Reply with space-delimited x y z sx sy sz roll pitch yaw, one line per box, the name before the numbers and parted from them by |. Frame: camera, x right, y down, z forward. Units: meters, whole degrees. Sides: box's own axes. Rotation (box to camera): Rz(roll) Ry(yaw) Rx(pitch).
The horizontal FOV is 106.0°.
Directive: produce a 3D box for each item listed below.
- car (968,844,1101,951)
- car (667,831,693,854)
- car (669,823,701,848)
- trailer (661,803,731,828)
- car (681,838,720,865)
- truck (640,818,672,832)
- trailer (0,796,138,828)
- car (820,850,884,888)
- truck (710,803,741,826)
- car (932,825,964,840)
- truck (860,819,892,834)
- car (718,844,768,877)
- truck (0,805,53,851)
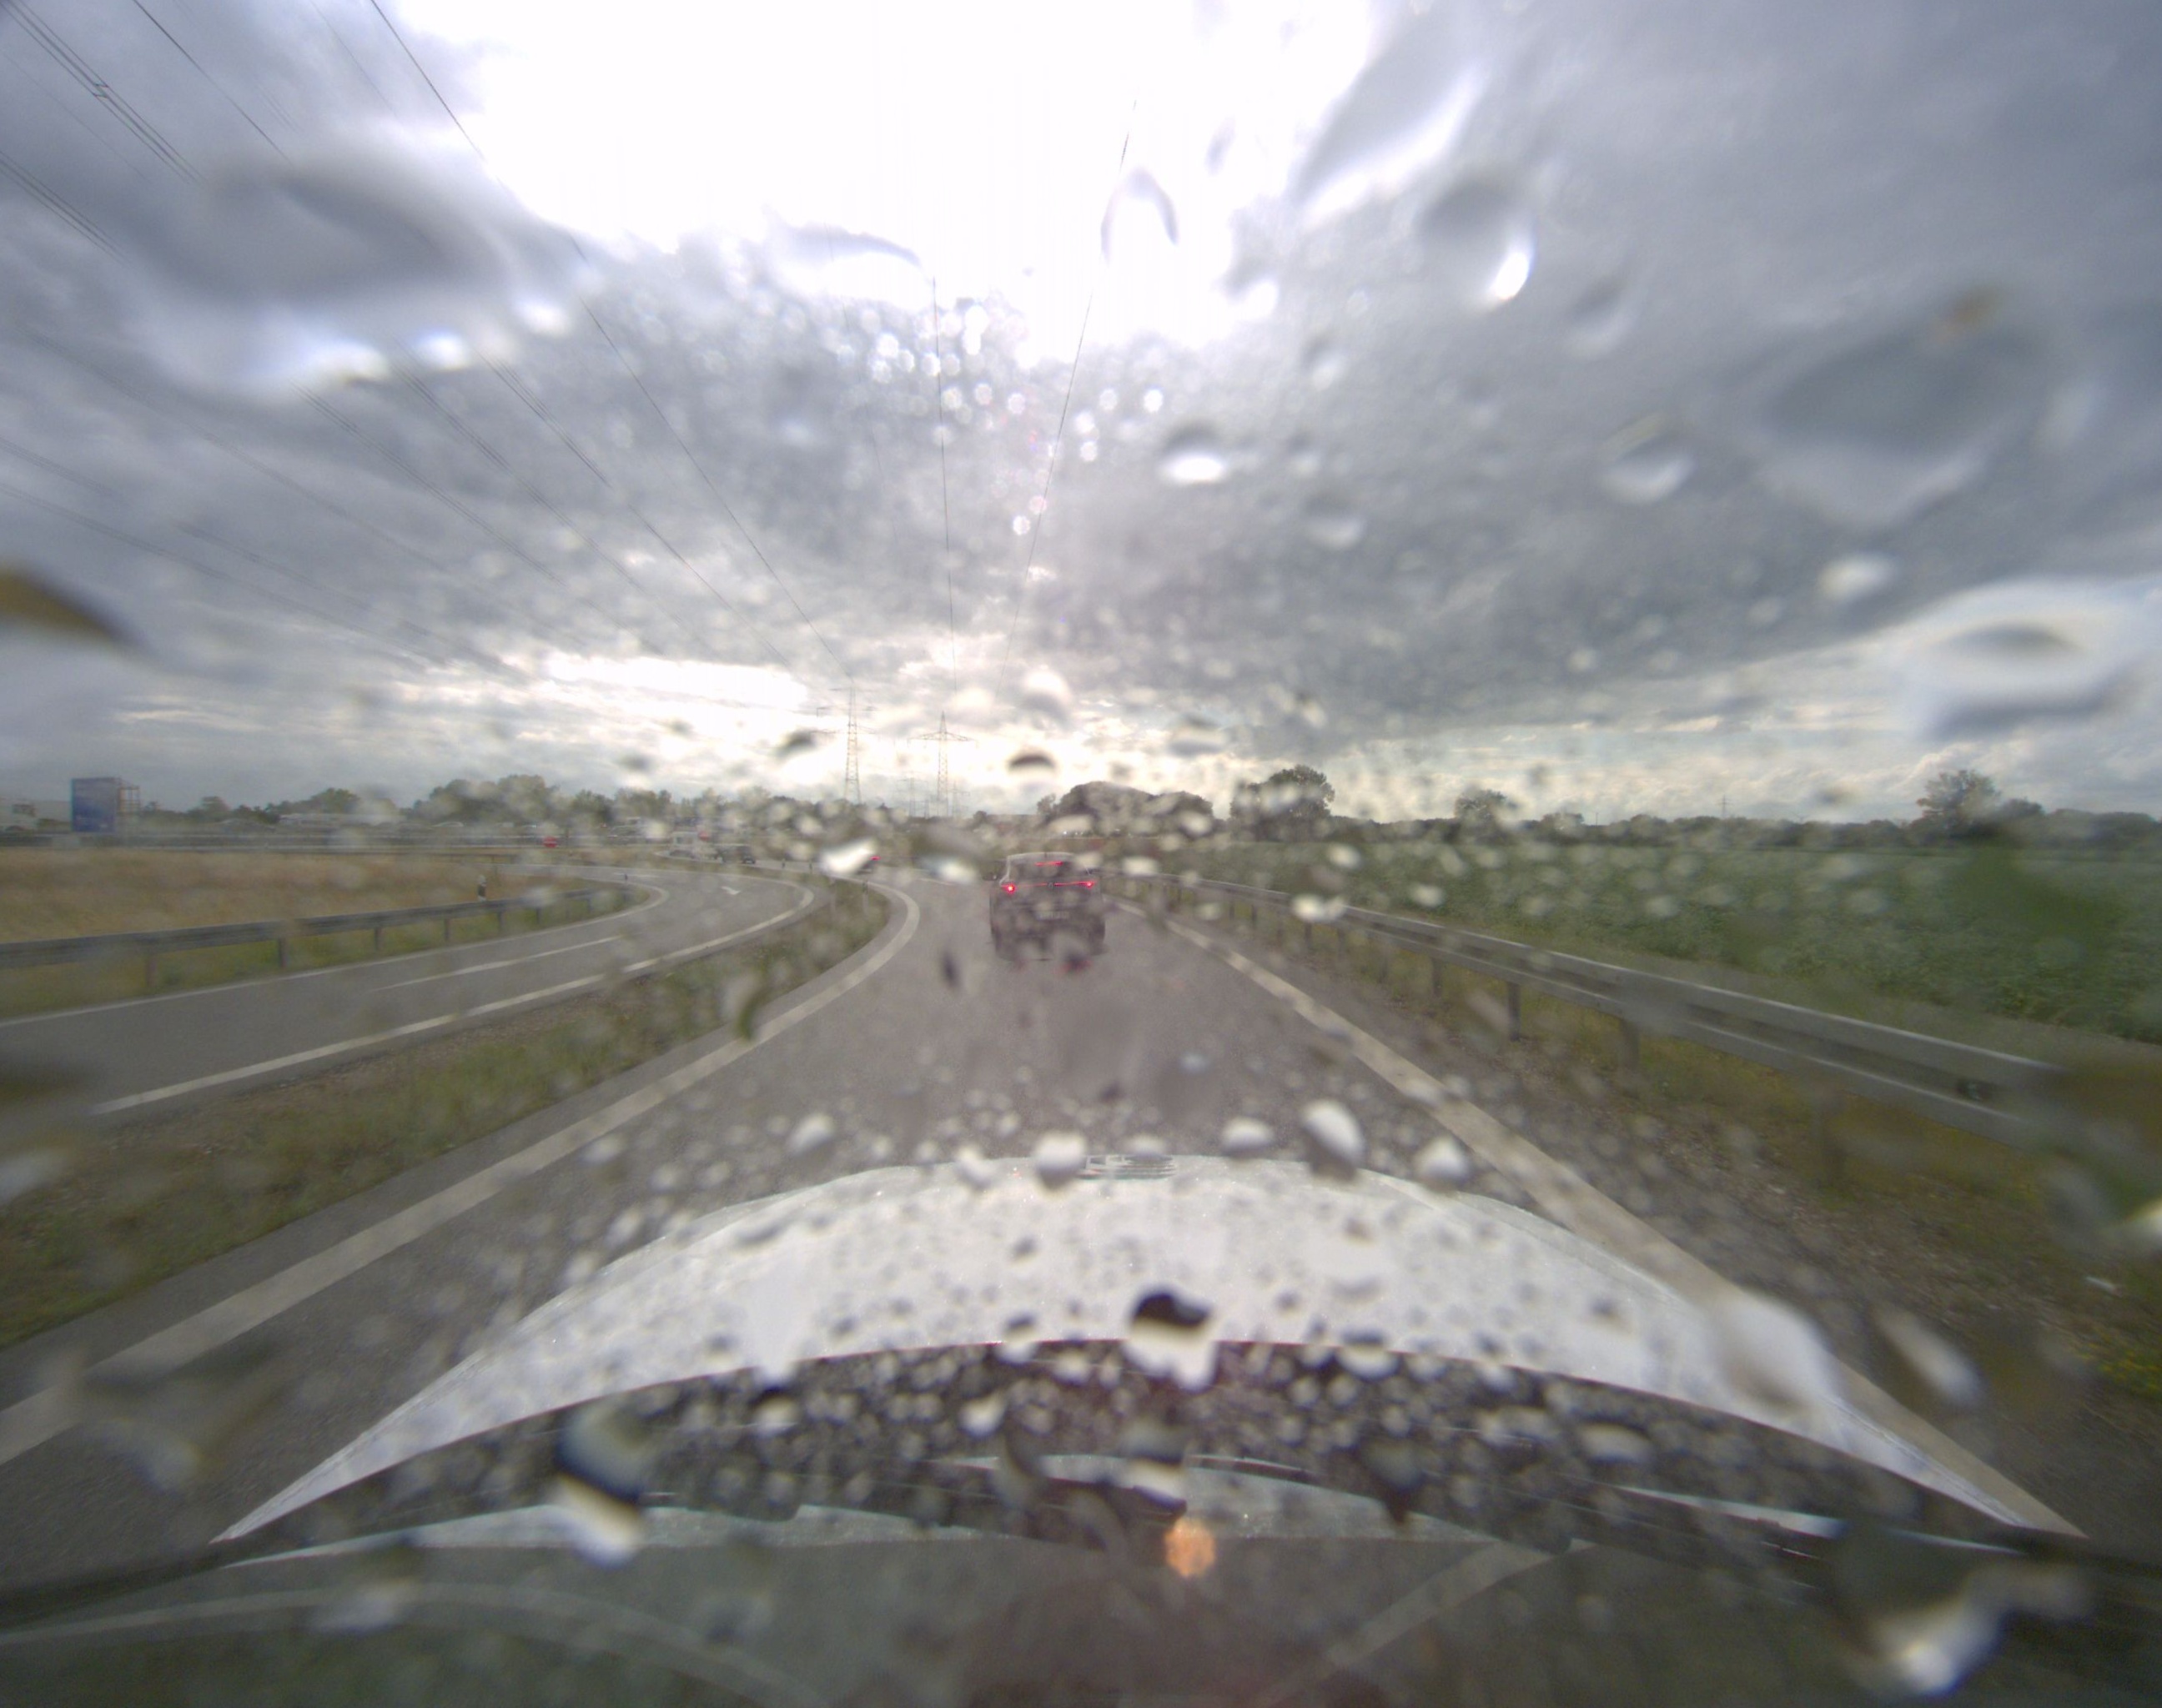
car | -0.788 0.648 14.790 1.988 1.566 4.146 -3 1 -2
car | -42.530 -1.266 86.527 2.363 2.306 5.087 -1 3 -26
car | -52.024 -2.473 107.149 3.147 2.950 7.161 -1 3 -21
trailer | -74.027 -7.458 157.176 3.021 4.634 13.381 2 3 24
car | -36.025 -0.298 77.009 2.369 2.306 5.074 -2 4 -36
truck | -97.063 -6.568 186.027 2.292 3.025 6.506 2 3 24
trailer | -133.770 -5.428 105.991 2.824 3.670 14.182 2 1 24
car | -13.869 0.835 49.050 2.136 2.018 5.478 1 1 -33
truck | -71.282 -7.863 163.382 3.042 4.478 5.101 2 3 22
car | -32.888 -5.200 201.690 3.353 3.610 9.096 1 1 23
truck | -63.031 -8.396 250.441 1.975 4.123 12.570 1 1 25
car | -27.226 0.436 65.558 2.371 2.306 5.070 -2 4 -39
truck | -108.666 -2.600 81.563 3.309 4.564 6.307 2 3 26
